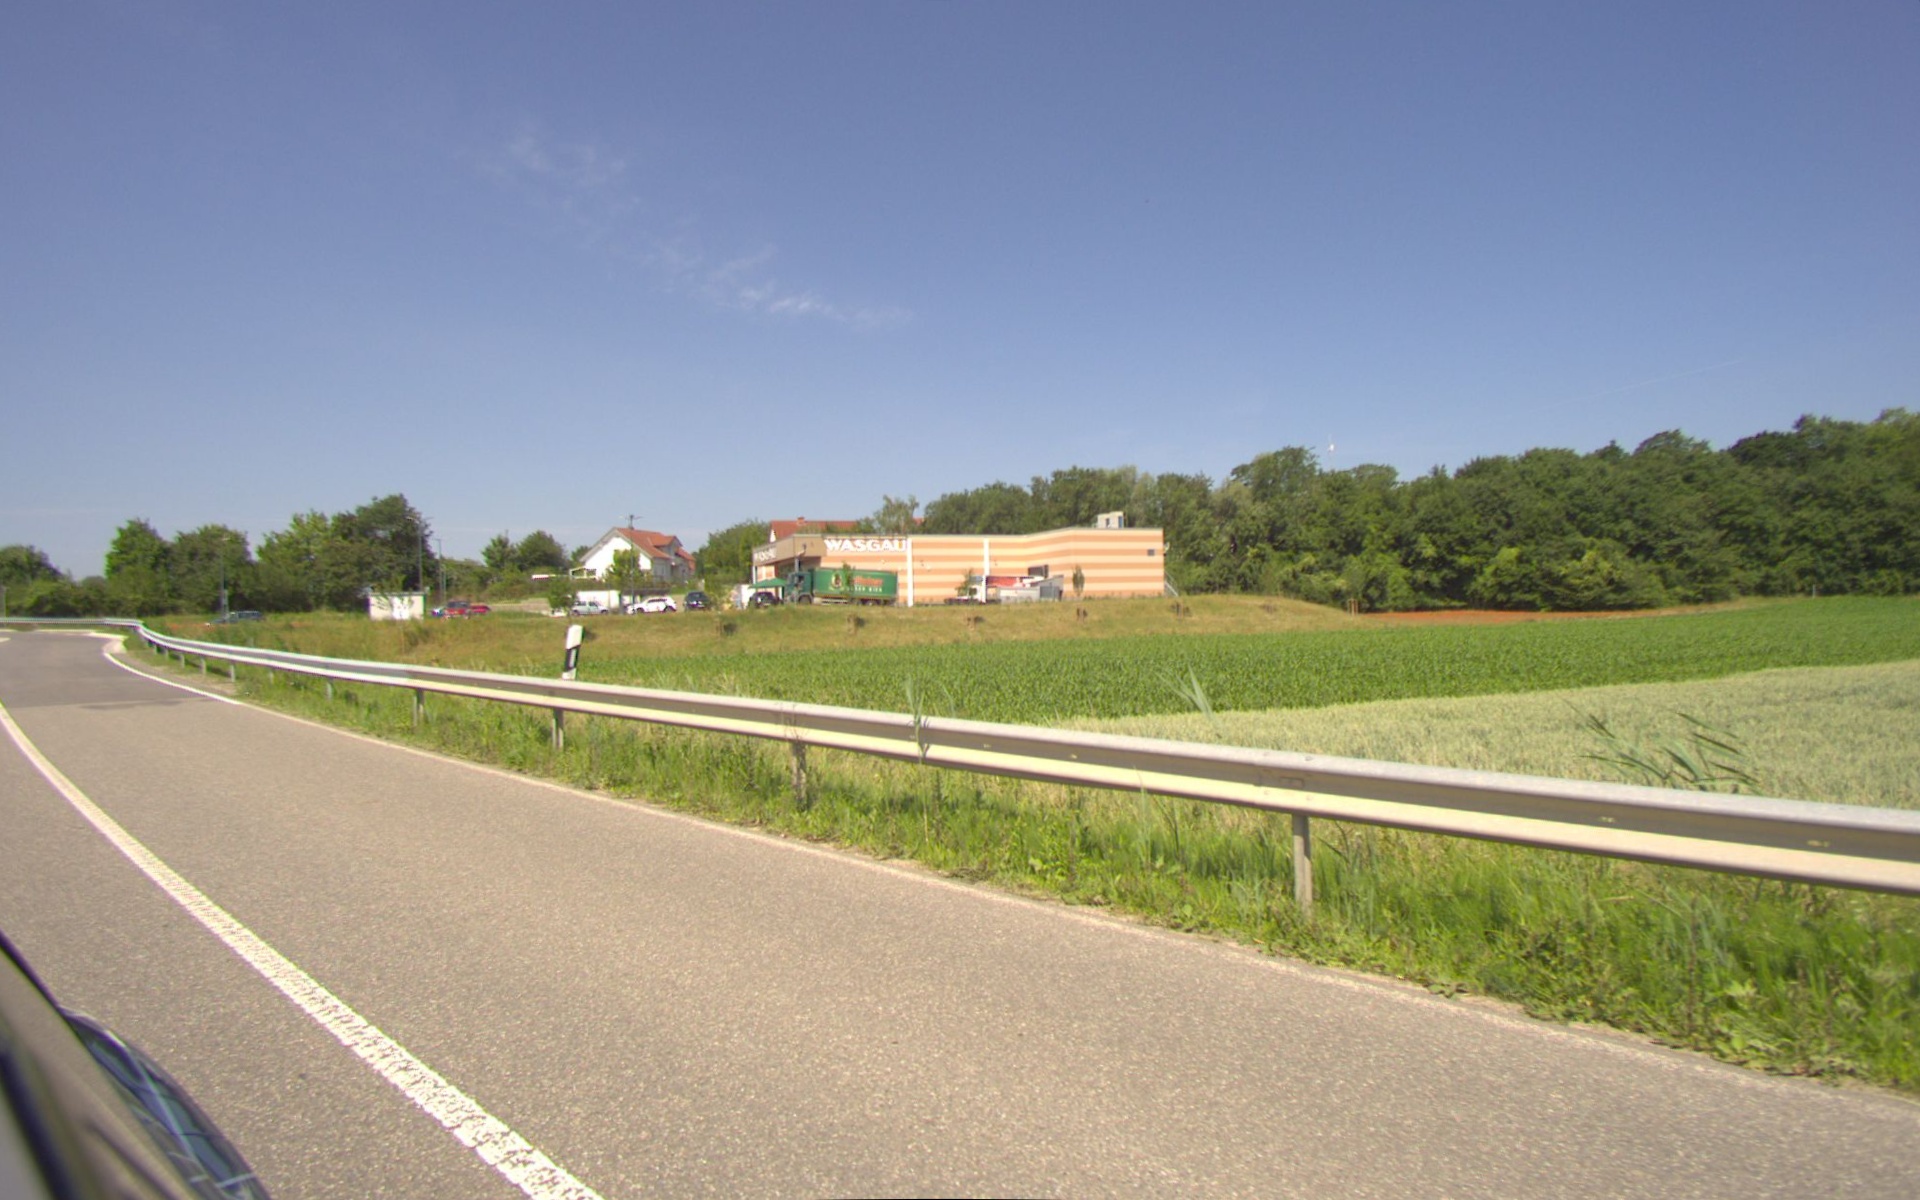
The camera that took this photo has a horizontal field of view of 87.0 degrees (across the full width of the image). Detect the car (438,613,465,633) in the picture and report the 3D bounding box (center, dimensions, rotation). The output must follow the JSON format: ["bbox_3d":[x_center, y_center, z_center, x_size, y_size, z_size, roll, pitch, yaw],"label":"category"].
[{"bbox_3d":[-35.466,1.600,70.675,1.596,1.299,3.686,-2,1,-26],"label":"car"}]

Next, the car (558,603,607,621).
[{"bbox_3d":[-36.788,1.165,98.571,4.258,1.609,2.007,-2,1,-25],"label":"car"}]

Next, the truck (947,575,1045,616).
[{"bbox_3d":[3.433,-0.511,95.117,8.729,3.590,2.888,-2,1,-22],"label":"truck"}]

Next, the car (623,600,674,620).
[{"bbox_3d":[-28.609,0.904,93.001,4.258,1.716,2.007,-2,1,-24],"label":"car"}]

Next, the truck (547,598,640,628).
[{"bbox_3d":[-44.929,1.498,124.374,10.549,3.215,2.452,-2,2,-38],"label":"truck"}]

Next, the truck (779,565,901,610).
[{"bbox_3d":[-10.146,-1.088,85.762,9.771,3.503,2.888,-2,1,-19],"label":"truck"}]

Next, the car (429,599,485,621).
[{"bbox_3d":[-44.290,0.863,89.181,4.258,1.716,2.007,-2,1,-22],"label":"car"}]
